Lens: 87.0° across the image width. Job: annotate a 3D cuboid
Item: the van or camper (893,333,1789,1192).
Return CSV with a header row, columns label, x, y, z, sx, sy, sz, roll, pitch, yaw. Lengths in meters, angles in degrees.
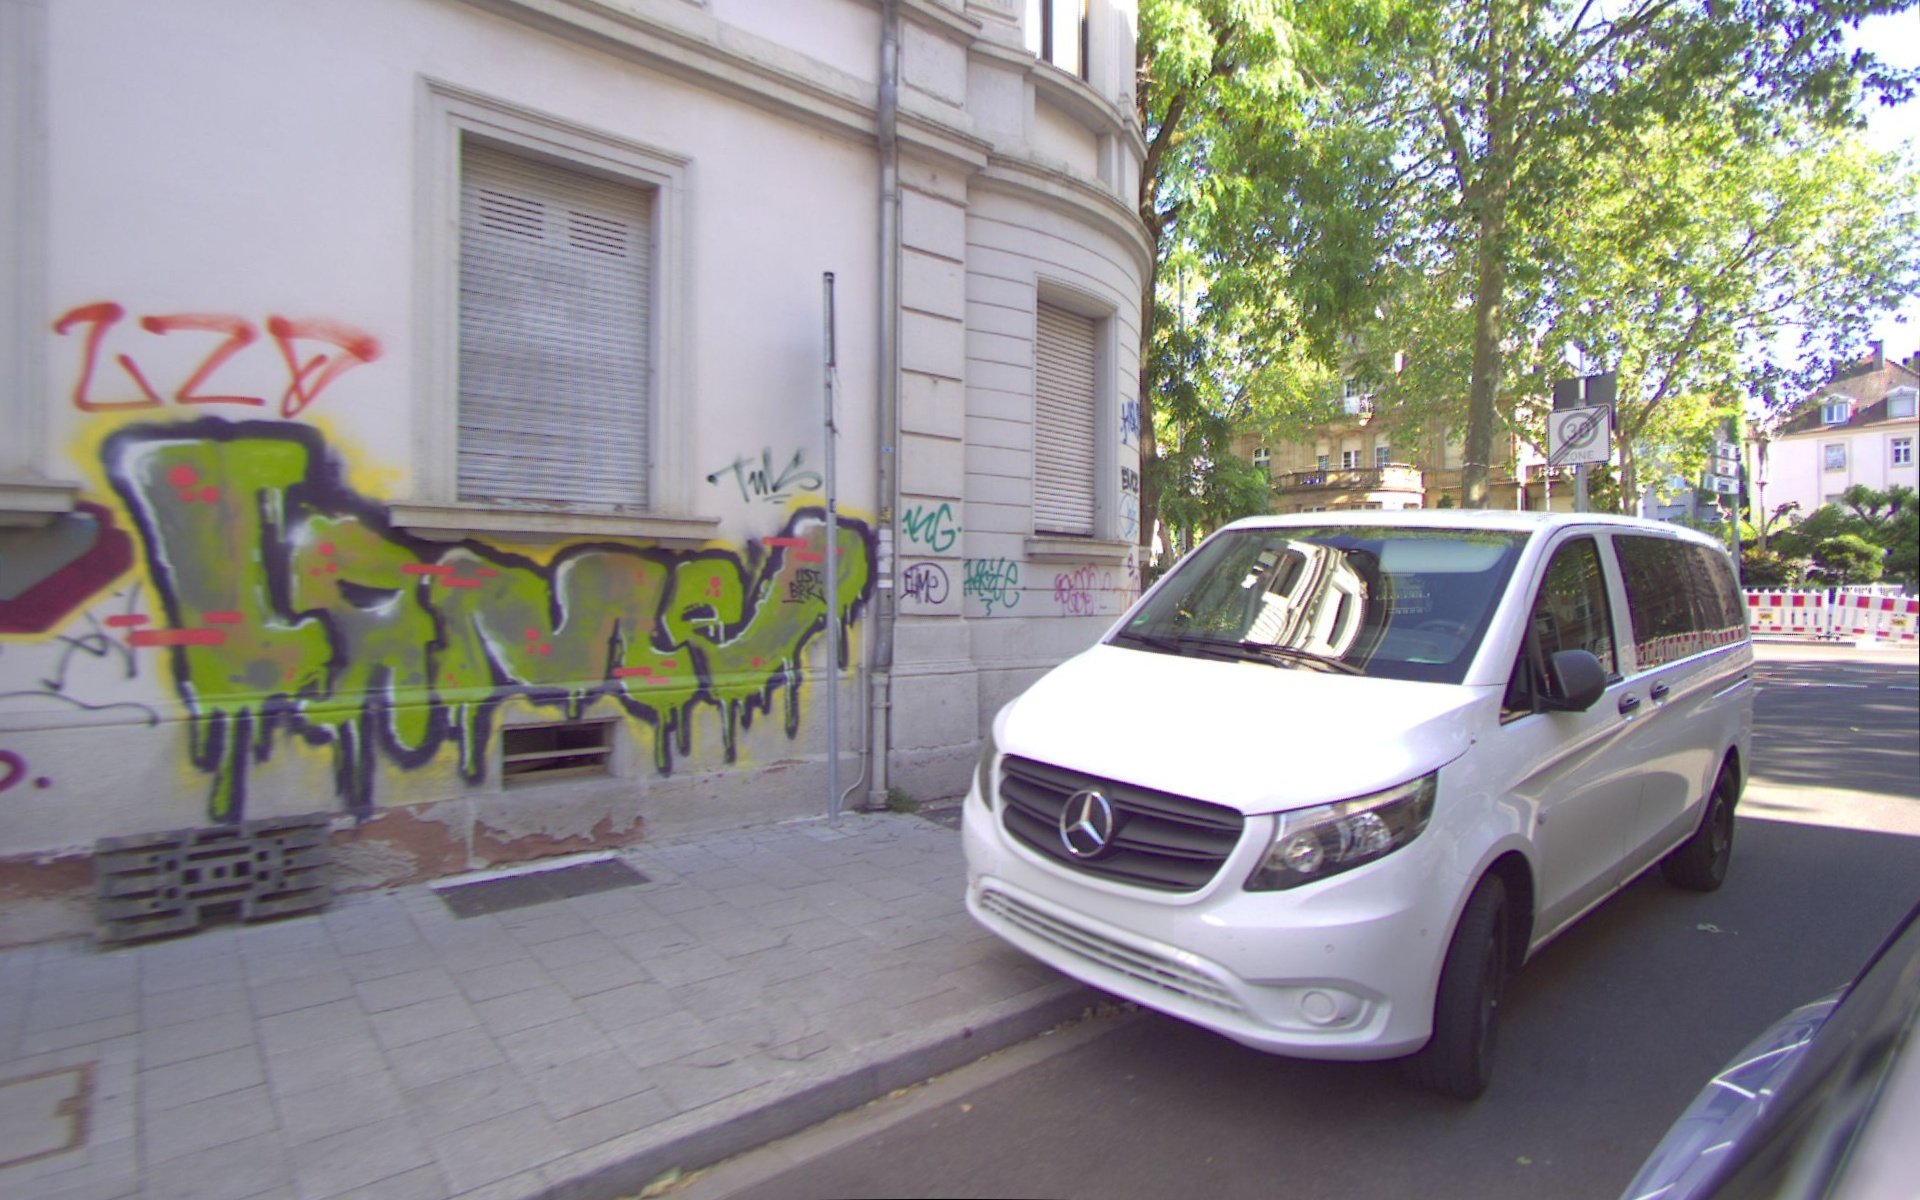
label,x,y,z,sx,sy,sz,roll,pitch,yaw
van or camper,2.209,0.379,4.773,4.944,2.039,1.896,0,0,-42
